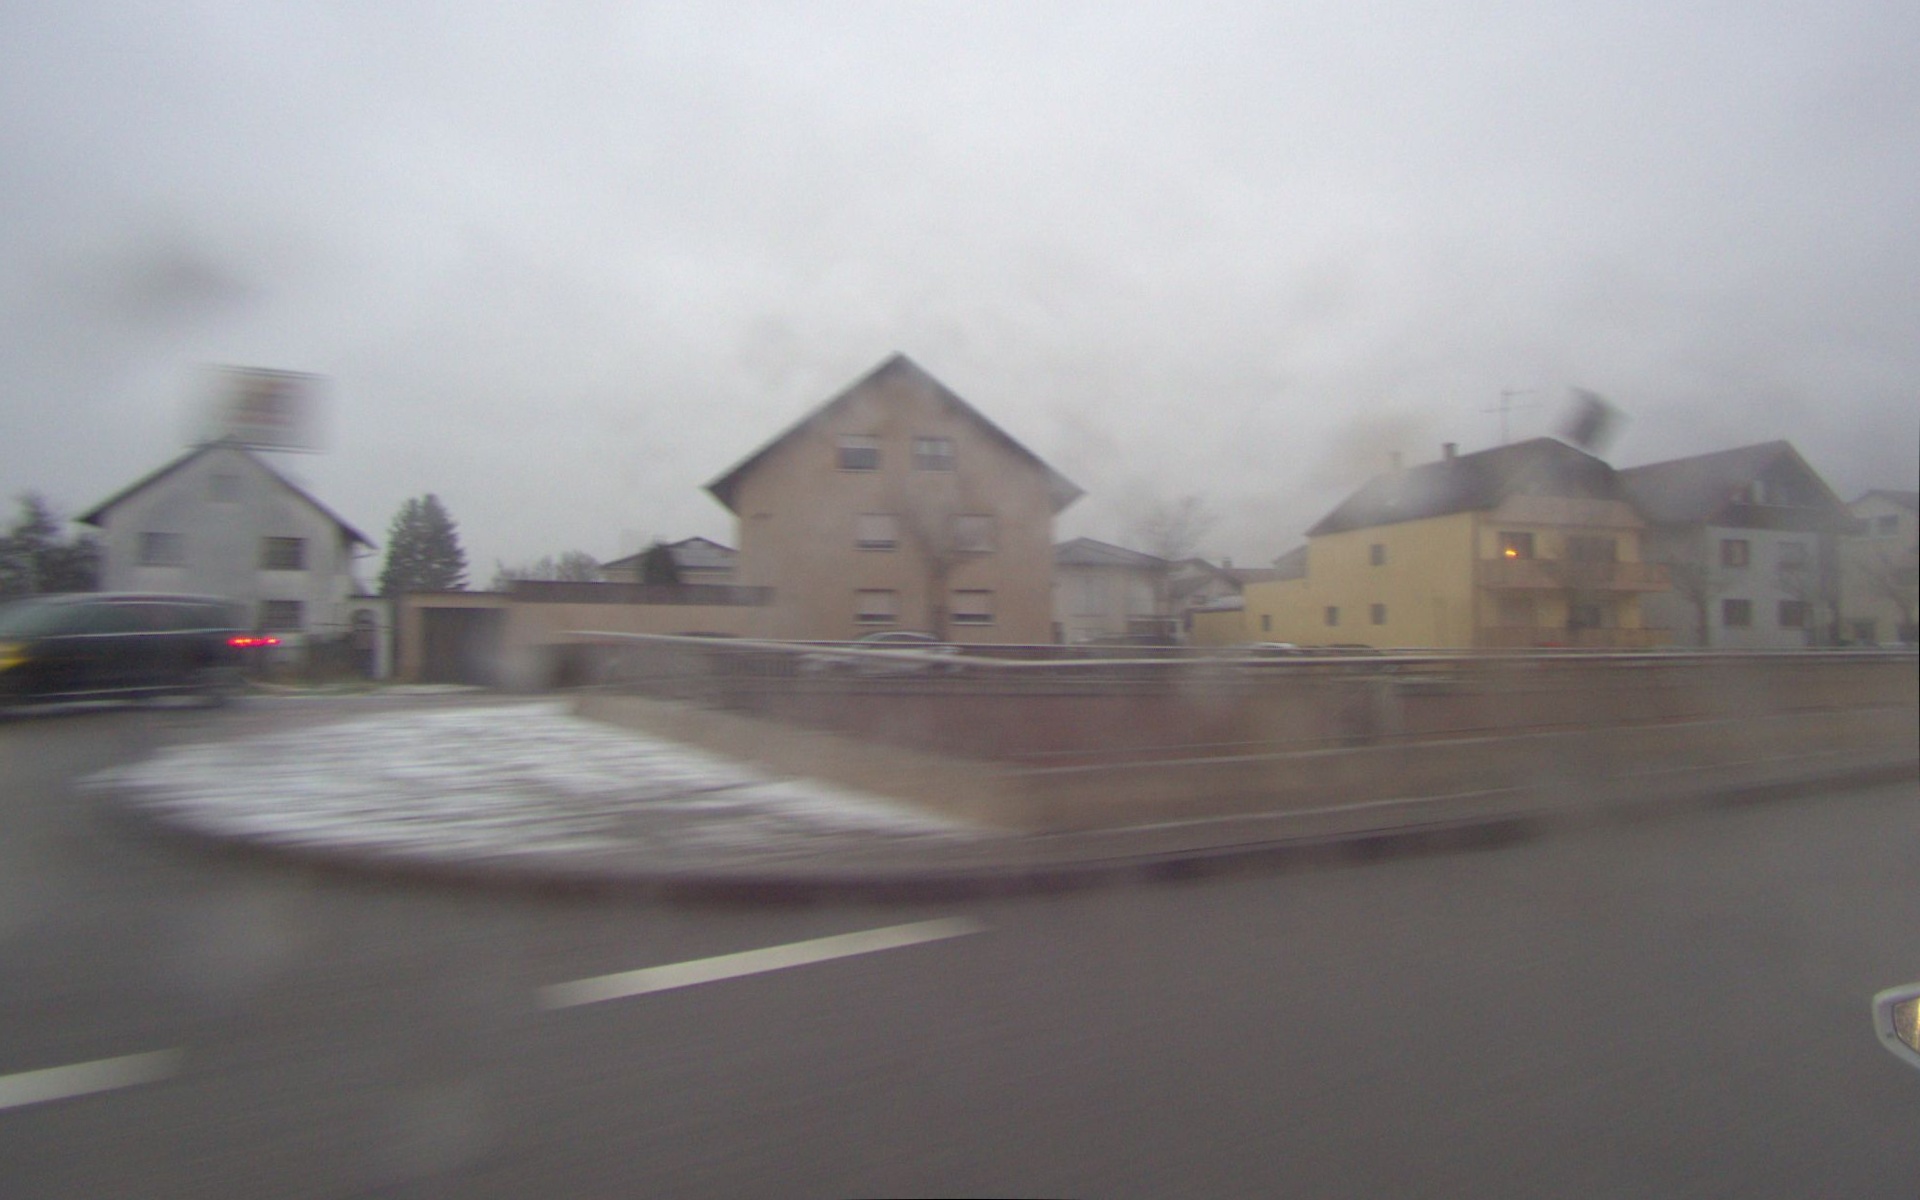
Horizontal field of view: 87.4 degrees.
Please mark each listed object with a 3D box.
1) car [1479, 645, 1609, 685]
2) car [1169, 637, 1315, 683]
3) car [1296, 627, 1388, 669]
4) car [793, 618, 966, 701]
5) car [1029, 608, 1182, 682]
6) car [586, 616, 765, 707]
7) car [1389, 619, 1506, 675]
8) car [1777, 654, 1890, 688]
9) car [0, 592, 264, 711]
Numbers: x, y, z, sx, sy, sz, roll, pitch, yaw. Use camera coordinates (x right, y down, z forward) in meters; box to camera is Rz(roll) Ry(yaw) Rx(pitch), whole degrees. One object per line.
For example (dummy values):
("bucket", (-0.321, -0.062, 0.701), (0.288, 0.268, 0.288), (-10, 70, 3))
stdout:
("car", (21.167, 2.339, 36.434), (4.051, 1.325, 1.990), (2, -1, -21))
("car", (8.847, 1.872, 31.603), (4.051, 1.325, 1.990), (2, -1, -21))
("car", (16.998, 2.112, 44.947), (1.817, 1.684, 4.026), (1, -1, -16))
("car", (-2.152, 1.532, 26.723), (4.164, 2.040, 1.989), (1, -1, -24))
("car", (4.244, 1.294, 29.329), (3.940, 2.040, 1.990), (1, -1, -21))
("car", (-6.889, 1.428, 24.289), (3.944, 2.040, 1.913), (1, -1, -24))
("car", (19.002, 1.784, 39.351), (1.967, 2.040, 3.987), (1, -1, -16))
("car", (37.435, 3.015, 43.046), (4.051, 1.325, 1.990), (2, -1, -21))
("car", (-12.026, 0.655, 13.553), (1.366, 1.457, 4.336), (0, -1, 20))
